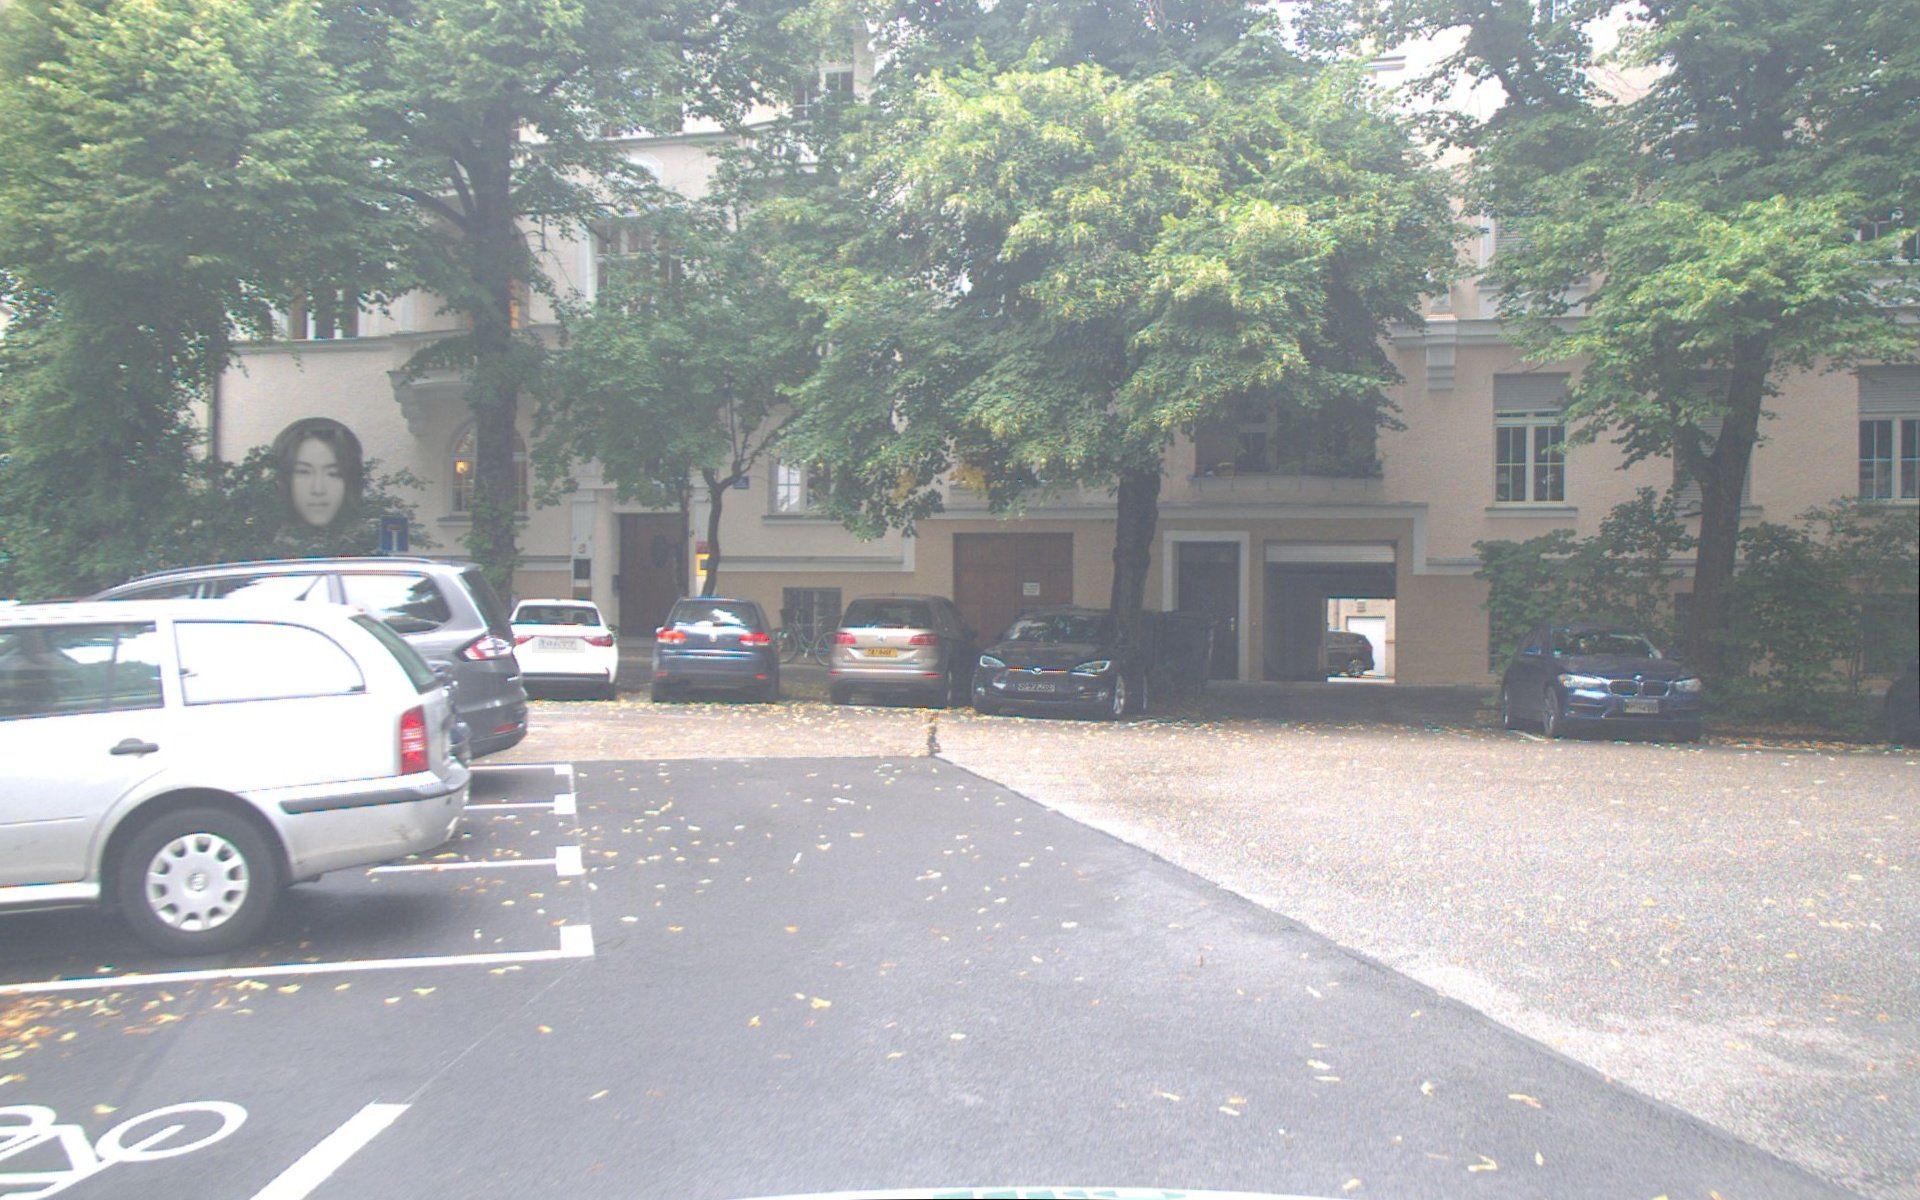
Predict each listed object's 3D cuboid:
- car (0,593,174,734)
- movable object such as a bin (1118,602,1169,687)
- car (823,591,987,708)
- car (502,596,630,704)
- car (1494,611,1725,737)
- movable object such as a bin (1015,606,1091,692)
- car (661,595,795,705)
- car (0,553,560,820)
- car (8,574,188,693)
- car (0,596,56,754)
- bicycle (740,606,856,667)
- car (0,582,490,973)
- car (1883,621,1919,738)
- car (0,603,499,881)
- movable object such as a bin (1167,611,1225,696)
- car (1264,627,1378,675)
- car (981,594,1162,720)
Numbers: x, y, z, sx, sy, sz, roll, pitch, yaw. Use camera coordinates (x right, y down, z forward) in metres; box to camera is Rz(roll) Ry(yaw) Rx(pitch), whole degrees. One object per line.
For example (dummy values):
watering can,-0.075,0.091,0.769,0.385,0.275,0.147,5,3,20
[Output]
car,-9.545,0.585,15.922,3.416,1.307,1.514,1,0,-33
movable object such as a bin,3.100,0.732,27.845,0.697,1.371,1.374,1,0,12
car,-0.723,0.681,24.429,1.799,1.557,4.028,1,0,7
car,-5.848,0.690,24.683,1.689,1.456,3.987,1,0,-13
car,8.109,0.893,21.049,1.799,1.407,4.345,0,-1,8
movable object such as a bin,1.590,0.816,28.060,1.125,1.372,1.157,1,0,10
car,-3.411,0.669,24.271,1.758,1.456,3.992,1,0,-8
car,-5.218,0.566,12.448,4.154,1.713,1.893,-2,1,-18
car,-12.804,0.464,24.798,1.673,1.629,3.981,1,0,-17
car,-11.450,0.766,17.403,3.260,1.659,1.492,1,0,-35
bicycle,-3.208,0.710,32.737,2.181,1.135,0.577,1,0,13
car,-4.260,0.736,7.283,4.160,1.480,1.713,-2,1,-17
car,12.688,0.974,19.920,1.818,1.450,4.165,0,-3,16
car,-4.817,0.779,9.779,3.993,1.391,1.710,-2,1,-17
movable object such as a bin,3.914,0.863,27.380,0.844,1.328,1.433,3,0,10
car,12.714,1.784,58.437,3.763,1.545,1.658,1,0,7
car,1.635,0.792,22.680,1.668,1.492,4.291,2,-2,14
